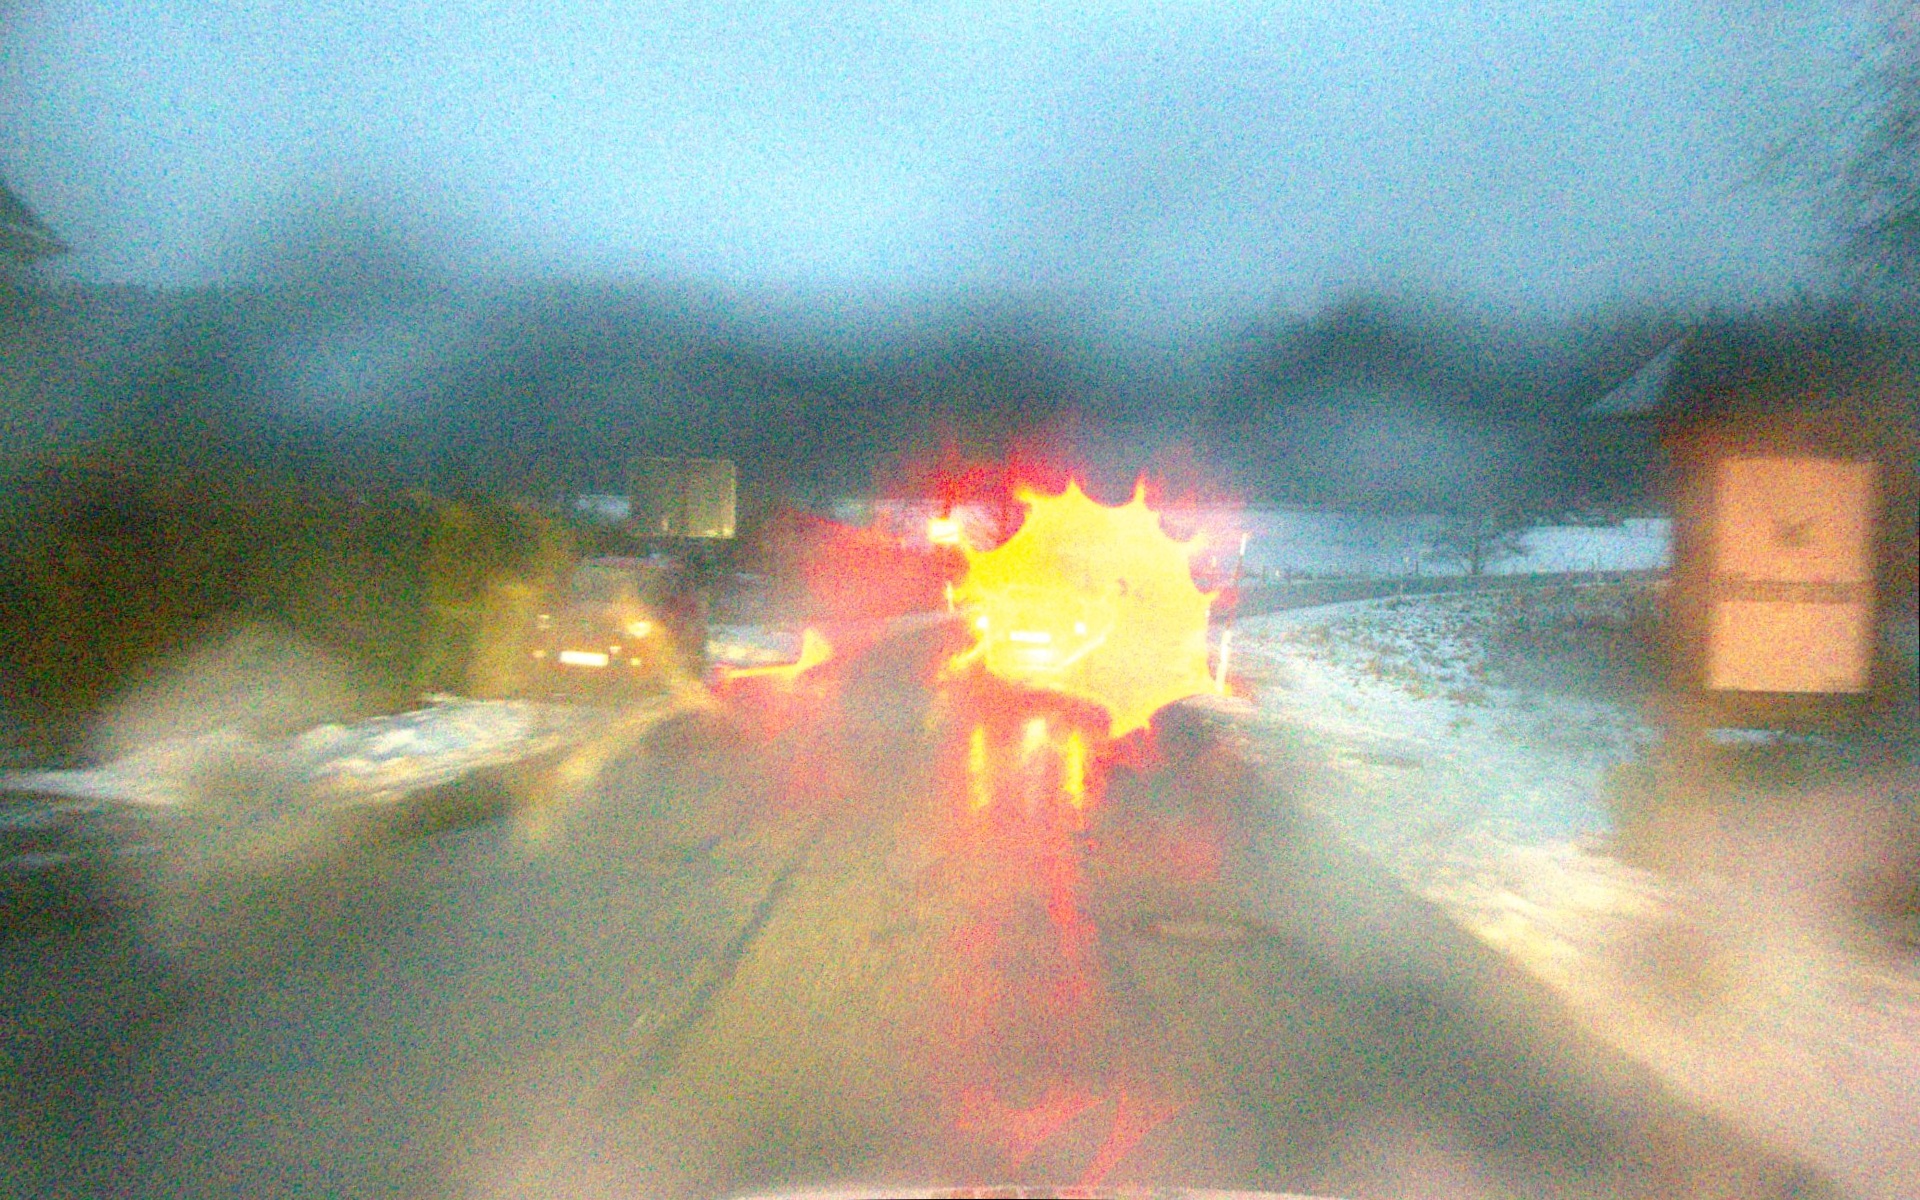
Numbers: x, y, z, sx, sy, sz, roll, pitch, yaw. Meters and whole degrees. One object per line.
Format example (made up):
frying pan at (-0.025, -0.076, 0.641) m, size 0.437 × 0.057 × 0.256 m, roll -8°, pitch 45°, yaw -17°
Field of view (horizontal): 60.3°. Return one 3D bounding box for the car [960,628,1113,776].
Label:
car at (0.977, 1.341, 22.807) m, size 1.785 × 1.828 × 3.576 m, roll 2°, pitch -1°, yaw -2°

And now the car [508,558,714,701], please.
car at (-4.199, 0.288, 20.429) m, size 1.683 × 1.561 × 3.518 m, roll 2°, pitch 1°, yaw 1°
